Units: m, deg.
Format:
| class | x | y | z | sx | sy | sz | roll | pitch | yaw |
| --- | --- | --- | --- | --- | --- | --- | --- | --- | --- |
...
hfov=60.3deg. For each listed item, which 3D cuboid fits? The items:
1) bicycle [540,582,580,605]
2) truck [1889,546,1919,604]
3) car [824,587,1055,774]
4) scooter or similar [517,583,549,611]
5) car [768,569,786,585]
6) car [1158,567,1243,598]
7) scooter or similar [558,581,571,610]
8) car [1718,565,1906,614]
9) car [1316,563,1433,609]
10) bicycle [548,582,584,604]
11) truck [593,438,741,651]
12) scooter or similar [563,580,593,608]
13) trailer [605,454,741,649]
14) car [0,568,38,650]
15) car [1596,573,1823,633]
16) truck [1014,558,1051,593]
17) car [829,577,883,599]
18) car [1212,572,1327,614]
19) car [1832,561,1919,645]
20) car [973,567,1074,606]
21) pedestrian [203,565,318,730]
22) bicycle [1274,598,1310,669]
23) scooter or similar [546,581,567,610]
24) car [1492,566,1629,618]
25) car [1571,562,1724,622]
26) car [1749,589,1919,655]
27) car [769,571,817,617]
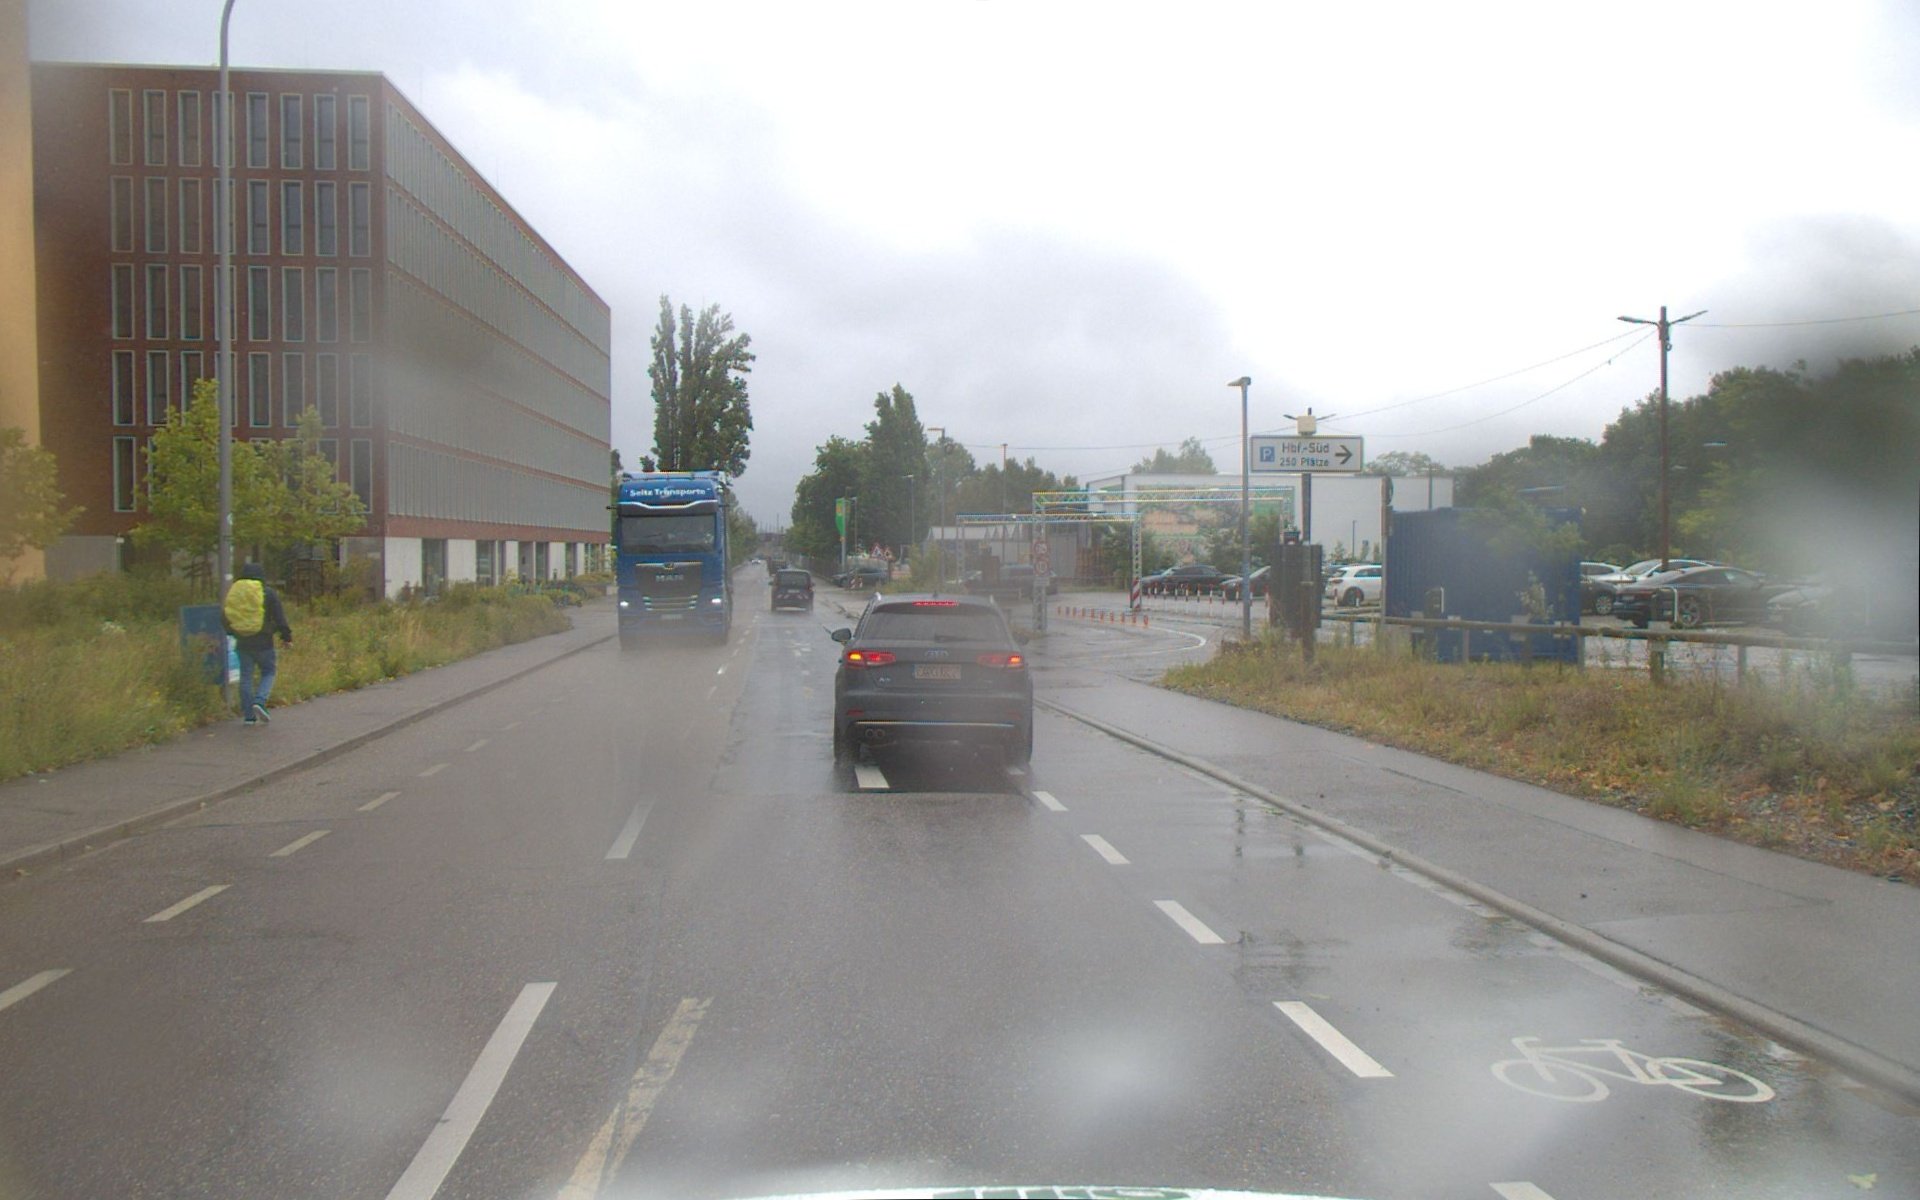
| class | x | y | z | sx | sy | sz | roll | pitch | yaw |
| --- | --- | --- | --- | --- | --- | --- | --- | --- | --- |
| bicycle | -20.633 | -0.341 | 85.311 | 1.912 | 1.096 | 0.619 | 2 | 0 | -8 |
| truck | 41.754 | -1.061 | 69.626 | 2.033 | 2.443 | 5.077 | -1 | 1 | -7 |
| car | -0.324 | 0.653 | 15.671 | 1.857 | 1.482 | 4.223 | 2 | 0 | -5 |
| scooter or similar | -18.901 | -0.131 | 73.265 | 1.290 | 1.198 | 0.467 | -1 | 1 | -1 |
| car | -19.770 | -2.443 | 178.773 | 1.696 | 1.716 | 3.894 | 0 | 0 | -4 |
| car | 12.222 | -0.863 | 84.130 | 3.910 | 1.511 | 1.997 | 1 | 0 | -6 |
| scooter or similar | -17.407 | -0.192 | 72.774 | 0.457 | 1.251 | 1.318 | -1 | 1 | -9 |
| car | 21.961 | -0.260 | 42.688 | 3.985 | 1.090 | 1.828 | -2 | 0 | -9 |
| car | 15.301 | -0.502 | 61.172 | 3.754 | 1.510 | 1.926 | -3 | 0 | -4 |
| bicycle | -21.106 | -0.390 | 88.616 | 1.824 | 1.096 | 0.543 | 2 | 0 | -8 |
| truck | -6.972 | -1.296 | 40.010 | 3.232 | 4.735 | 6.022 | 0 | 1 | -8 |
| scooter or similar | -17.420 | -0.266 | 75.511 | 1.290 | 1.251 | 0.467 | 0 | 1 | 23 |
| trailer | -7.915 | -1.277 | 47.061 | 3.232 | 4.735 | 13.709 | 0 | 1 | -8 |
| car | -21.825 | 0.185 | 34.152 | 4.438 | 1.670 | 1.996 | 0 | 0 | -10 |
| car | 17.611 | 0.067 | 38.972 | 4.501 | 1.242 | 1.975 | -2 | 0 | -8 |
| truck | 5.976 | -2.052 | 136.428 | 2.255 | 2.705 | 7.412 | -1 | 1 | -3 |
| car | -7.944 | -0.928 | 126.534 | 4.054 | 1.596 | 1.764 | 0 | 0 | -4 |
| car | 13.553 | -0.294 | 72.468 | 4.539 | 1.746 | 2.013 | 1 | 0 | -13 |
| car | 18.840 | 0.011 | 31.125 | 3.875 | 1.516 | 1.868 | -2 | 0 | -5 |
| car | 2.979 | -0.611 | 78.264 | 4.587 | 1.765 | 2.127 | -1 | 0 | -3 |
| pedestrian | -7.607 | 0.494 | 18.022 | 0.891 | 1.748 | 1.025 | 0 | 0 | -7 |
| bicycle | 5.500 | 0.535 | 27.390 | 0.496 | 1.103 | 1.704 | 0 | 1 | 14 |
| scooter or similar | -18.084 | -0.215 | 74.103 | 0.462 | 1.251 | 1.304 | -1 | 1 | -35 |
| car | 20.745 | -0.266 | 57.195 | 3.982 | 1.633 | 1.924 | -2 | 0 | -6 |
| car | 21.363 | -0.244 | 51.468 | 3.985 | 1.688 | 1.828 | -2 | 0 | -9 |
| car | 18.428 | 0.430 | 33.813 | 3.809 | 1.242 | 1.647 | -2 | 0 | -2 |
| car | -7.273 | -0.279 | 71.848 | 1.956 | 1.943 | 4.194 | -1 | 1 | -8 |
